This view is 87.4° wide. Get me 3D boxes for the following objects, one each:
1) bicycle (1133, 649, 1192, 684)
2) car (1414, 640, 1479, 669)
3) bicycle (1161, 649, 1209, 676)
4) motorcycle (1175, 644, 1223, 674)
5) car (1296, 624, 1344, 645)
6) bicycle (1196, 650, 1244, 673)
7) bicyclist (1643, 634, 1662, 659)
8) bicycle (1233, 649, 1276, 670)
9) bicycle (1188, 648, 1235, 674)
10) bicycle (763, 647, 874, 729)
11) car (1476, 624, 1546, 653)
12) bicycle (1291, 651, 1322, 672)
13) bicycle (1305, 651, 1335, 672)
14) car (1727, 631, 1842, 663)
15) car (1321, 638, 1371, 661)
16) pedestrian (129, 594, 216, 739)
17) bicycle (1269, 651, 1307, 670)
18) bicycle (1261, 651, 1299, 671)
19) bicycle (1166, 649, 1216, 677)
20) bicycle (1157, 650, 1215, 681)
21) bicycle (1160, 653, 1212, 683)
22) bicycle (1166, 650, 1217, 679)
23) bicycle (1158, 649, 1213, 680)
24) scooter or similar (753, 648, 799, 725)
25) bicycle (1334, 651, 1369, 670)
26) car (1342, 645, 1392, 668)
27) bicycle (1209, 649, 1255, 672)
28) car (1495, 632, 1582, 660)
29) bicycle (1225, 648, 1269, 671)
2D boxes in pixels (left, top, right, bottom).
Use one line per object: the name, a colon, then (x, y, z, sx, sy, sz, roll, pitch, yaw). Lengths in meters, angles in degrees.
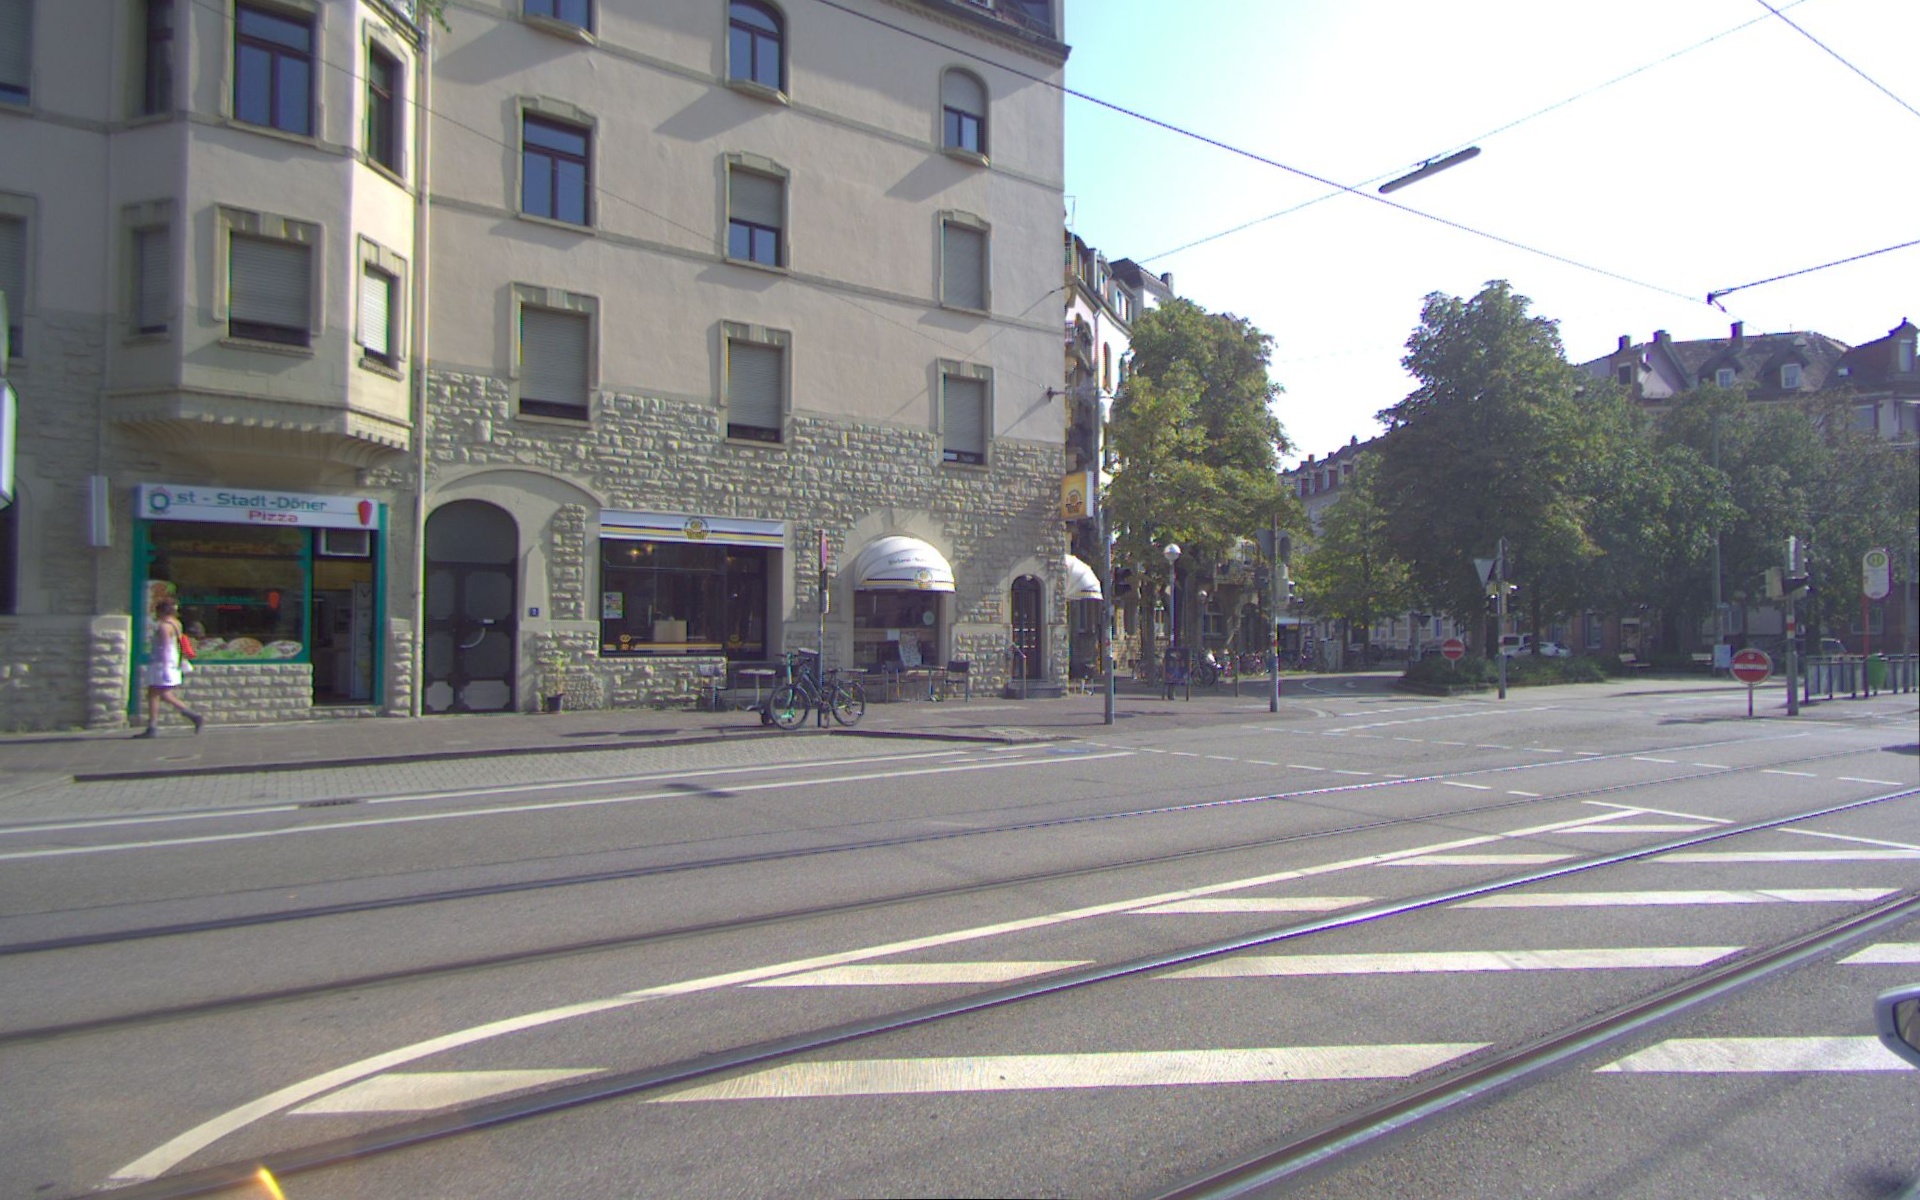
bicycle: (6.669, 2.199, 33.128, 1.845, 1.127, 0.569, 1, -2, -11)
car: (32.790, 3.663, 67.823, 1.964, 1.852, 3.993, 0, -2, -11)
bicycle: (8.727, 2.422, 38.928, 1.769, 0.989, 0.661, 0, -2, 18)
motorcycle: (9.865, 2.424, 41.469, 1.839, 1.169, 0.607, 0, -2, 25)
car: (31.971, 3.080, 89.253, 1.968, 1.852, 3.985, 0, -2, -18)
bicycle: (11.228, 2.649, 43.392, 1.876, 0.947, 0.737, 0, -2, 25)
bicyclist: (38.361, 2.564, 55.632, 0.808, 1.345, 0.546, -2, -2, 36)
bicycle: (13.787, 2.779, 47.060, 1.851, 0.947, 0.635, -1, -3, 41)
bicycle: (10.591, 2.554, 42.286, 1.843, 1.041, 0.664, 0, -2, 25)
bicycle: (-2.270, 1.398, 16.274, 1.843, 1.242, 0.449, 2, -3, -41)
car: (35.964, 2.525, 65.704, 1.964, 1.852, 3.994, 0, -2, -9)
bicycle: (17.367, 3.069, 50.322, 1.750, 0.990, 0.422, 1, -2, -32)
bicycle: (18.044, 3.076, 50.312, 1.750, 0.990, 0.422, 1, -2, -32)
car: (43.300, 2.468, 52.863, 4.253, 1.589, 2.000, -1, -2, 23)
car: (31.157, 3.964, 81.172, 1.964, 1.852, 3.994, 0, -2, -9)
pedestrian: (-10.651, 0.889, 13.620, 0.822, 1.884, 0.769, 1, -2, -34)
bicycle: (16.797, 3.088, 51.419, 1.742, 0.990, 0.603, -2, -3, 36)
bicycle: (16.213, 3.074, 50.897, 1.742, 0.990, 0.518, -2, -3, 37)
bicycle: (8.729, 2.379, 37.914, 1.769, 0.996, 0.661, 0, -2, 18)
bicycle: (7.628, 2.203, 33.923, 1.840, 1.017, 0.570, 0, -2, 5)
bicycle: (7.304, 2.189, 32.478, 1.577, 0.932, 0.479, 1, -2, -1)
bicycle: (8.461, 2.357, 36.730, 1.769, 0.997, 0.570, 0, -2, 18)
bicycle: (7.950, 2.253, 35.384, 1.841, 1.047, 0.570, 0, -2, 20)
scooter or similar: (-3.011, 1.401, 16.486, 0.359, 1.213, 1.035, 0, -2, 13)
bicycle: (20.496, 3.158, 52.614, 0.597, 0.990, 1.760, 1, -2, -23)
car: (33.369, 4.608, 82.443, 1.964, 1.852, 3.994, 0, -2, -9)
bicycle: (12.096, 2.675, 44.657, 1.865, 0.993, 0.686, 0, -2, 25)
car: (34.230, 2.715, 59.568, 1.967, 1.589, 4.322, 1, -2, -16)
bicycle: (13.060, 2.711, 45.675, 1.865, 0.993, 0.686, 0, -2, 25)
